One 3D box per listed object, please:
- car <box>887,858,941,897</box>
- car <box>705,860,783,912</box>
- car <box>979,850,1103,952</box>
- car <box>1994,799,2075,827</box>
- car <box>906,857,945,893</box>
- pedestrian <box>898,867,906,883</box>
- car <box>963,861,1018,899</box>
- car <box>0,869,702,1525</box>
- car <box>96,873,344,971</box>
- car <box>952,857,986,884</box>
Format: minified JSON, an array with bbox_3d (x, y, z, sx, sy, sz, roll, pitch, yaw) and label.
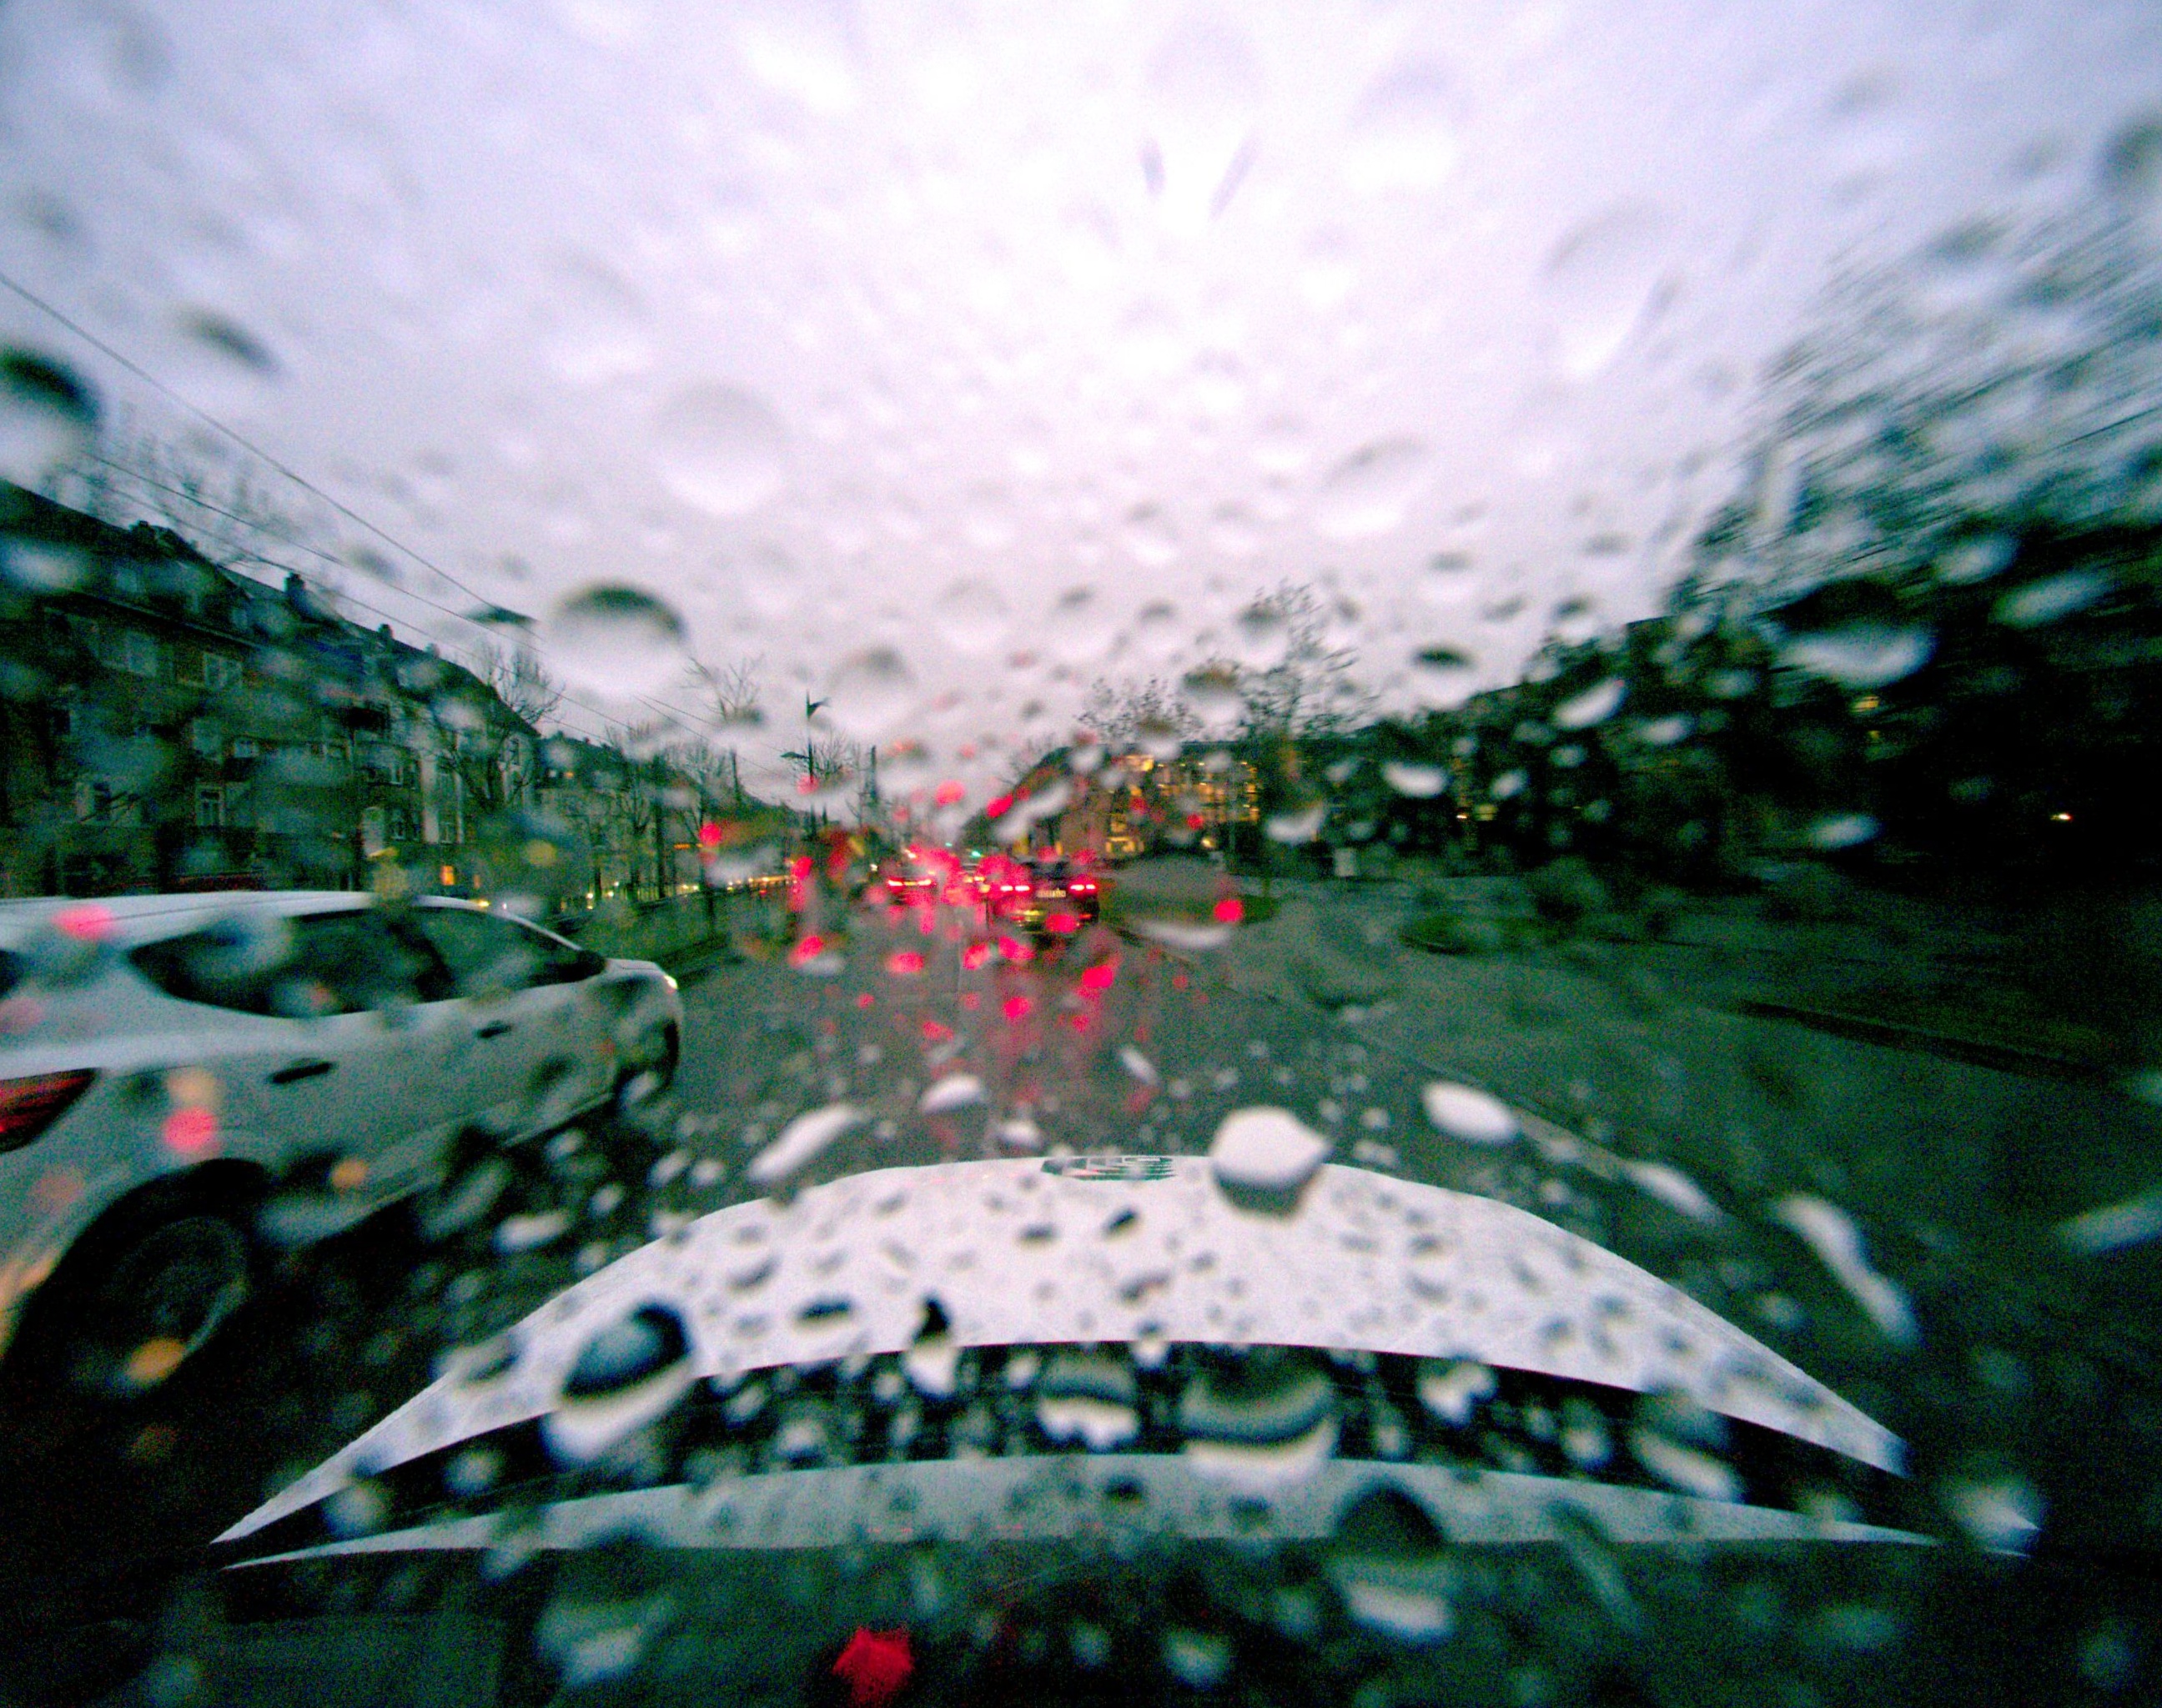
[{"bbox_3d":[-6.970,0.931,33.915,1.995,1.398,3.983,-3,0,-12],"label":"car"},{"bbox_3d":[-13.643,1.241,33.239,1.994,1.823,3.986,-4,0,-10],"label":"car"},{"bbox_3d":[-0.917,0.799,15.846,1.990,1.616,3.989,-3,0,-8],"label":"car"},{"bbox_3d":[46.507,-1.995,39.821,1.651,1.180,3.732,-3,0,35],"label":"car"},{"bbox_3d":[-8.678,1.133,45.610,1.994,1.765,3.986,-3,0,-10],"label":"car"},{"bbox_3d":[-18.187,2.119,82.839,0.699,1.552,0.666,-4,0,-10],"label":"pedestrian"},{"bbox_3d":[-3.914,1.043,34.718,1.994,1.408,3.986,-3,0,-10],"label":"car"},{"bbox_3d":[-3.443,0.910,3.502,1.621,1.487,4.001,-3,1,1],"label":"car"},{"bbox_3d":[-24.738,1.814,23.784,1.992,2.309,5.252,-3,0,-8],"label":"car"},{"bbox_3d":[-7.443,1.049,53.689,1.994,1.618,3.986,-3,0,-10],"label":"car"}]
